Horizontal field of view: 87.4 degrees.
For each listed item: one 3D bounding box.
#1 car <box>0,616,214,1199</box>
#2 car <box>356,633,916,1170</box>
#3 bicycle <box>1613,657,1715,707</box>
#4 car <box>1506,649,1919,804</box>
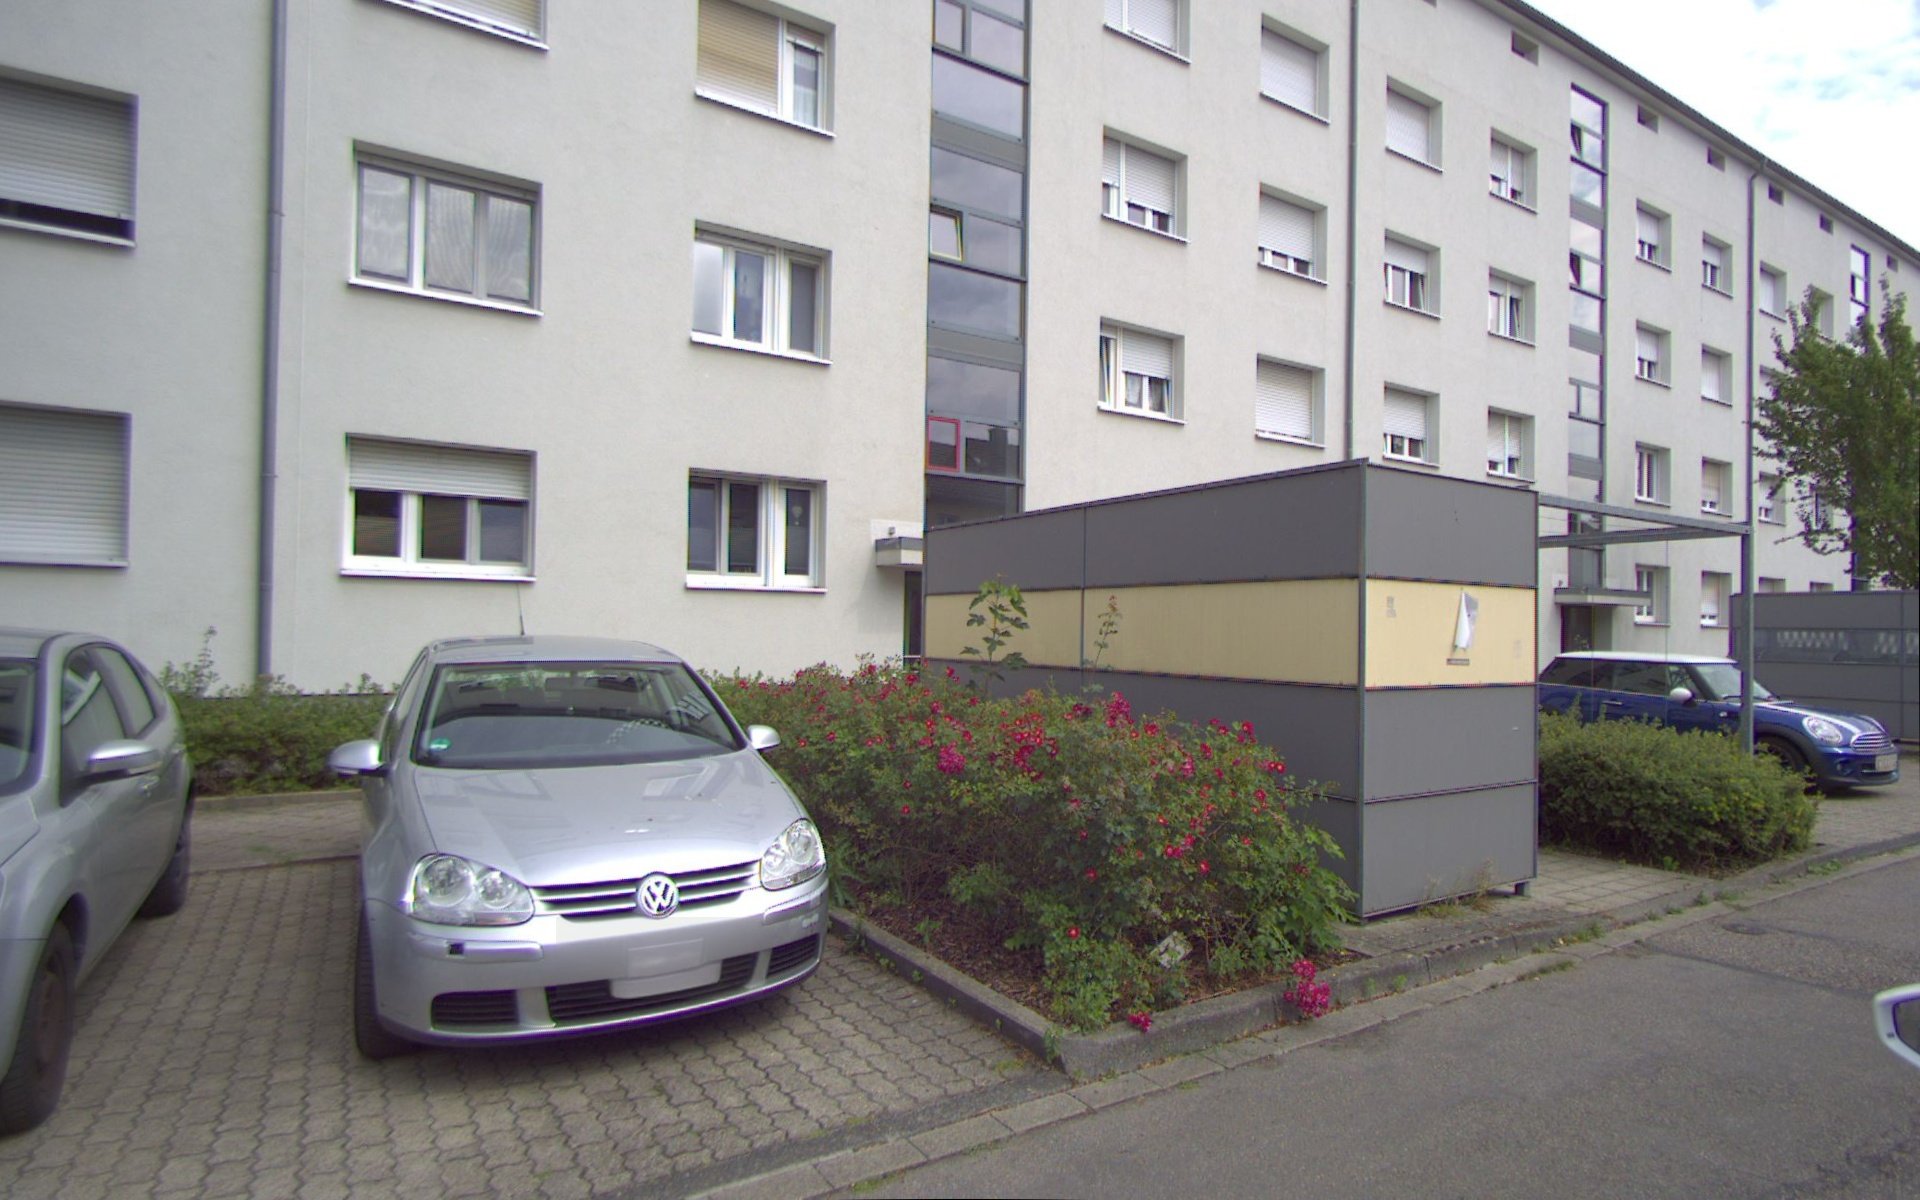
[{"bbox_3d":[-4.071,0.840,3.647,1.762,1.525,4.031,2,-3,-31],"label":"car"},{"bbox_3d":[-1.955,0.925,4.994,1.762,1.483,4.031,2,-3,-31],"label":"car"},{"bbox_3d":[15.553,1.808,22.228,1.775,1.038,0.479,0,-1,18],"label":"bicycle"},{"bbox_3d":[8.612,1.331,11.770,1.632,1.480,3.621,2,-3,-28],"label":"car"}]
